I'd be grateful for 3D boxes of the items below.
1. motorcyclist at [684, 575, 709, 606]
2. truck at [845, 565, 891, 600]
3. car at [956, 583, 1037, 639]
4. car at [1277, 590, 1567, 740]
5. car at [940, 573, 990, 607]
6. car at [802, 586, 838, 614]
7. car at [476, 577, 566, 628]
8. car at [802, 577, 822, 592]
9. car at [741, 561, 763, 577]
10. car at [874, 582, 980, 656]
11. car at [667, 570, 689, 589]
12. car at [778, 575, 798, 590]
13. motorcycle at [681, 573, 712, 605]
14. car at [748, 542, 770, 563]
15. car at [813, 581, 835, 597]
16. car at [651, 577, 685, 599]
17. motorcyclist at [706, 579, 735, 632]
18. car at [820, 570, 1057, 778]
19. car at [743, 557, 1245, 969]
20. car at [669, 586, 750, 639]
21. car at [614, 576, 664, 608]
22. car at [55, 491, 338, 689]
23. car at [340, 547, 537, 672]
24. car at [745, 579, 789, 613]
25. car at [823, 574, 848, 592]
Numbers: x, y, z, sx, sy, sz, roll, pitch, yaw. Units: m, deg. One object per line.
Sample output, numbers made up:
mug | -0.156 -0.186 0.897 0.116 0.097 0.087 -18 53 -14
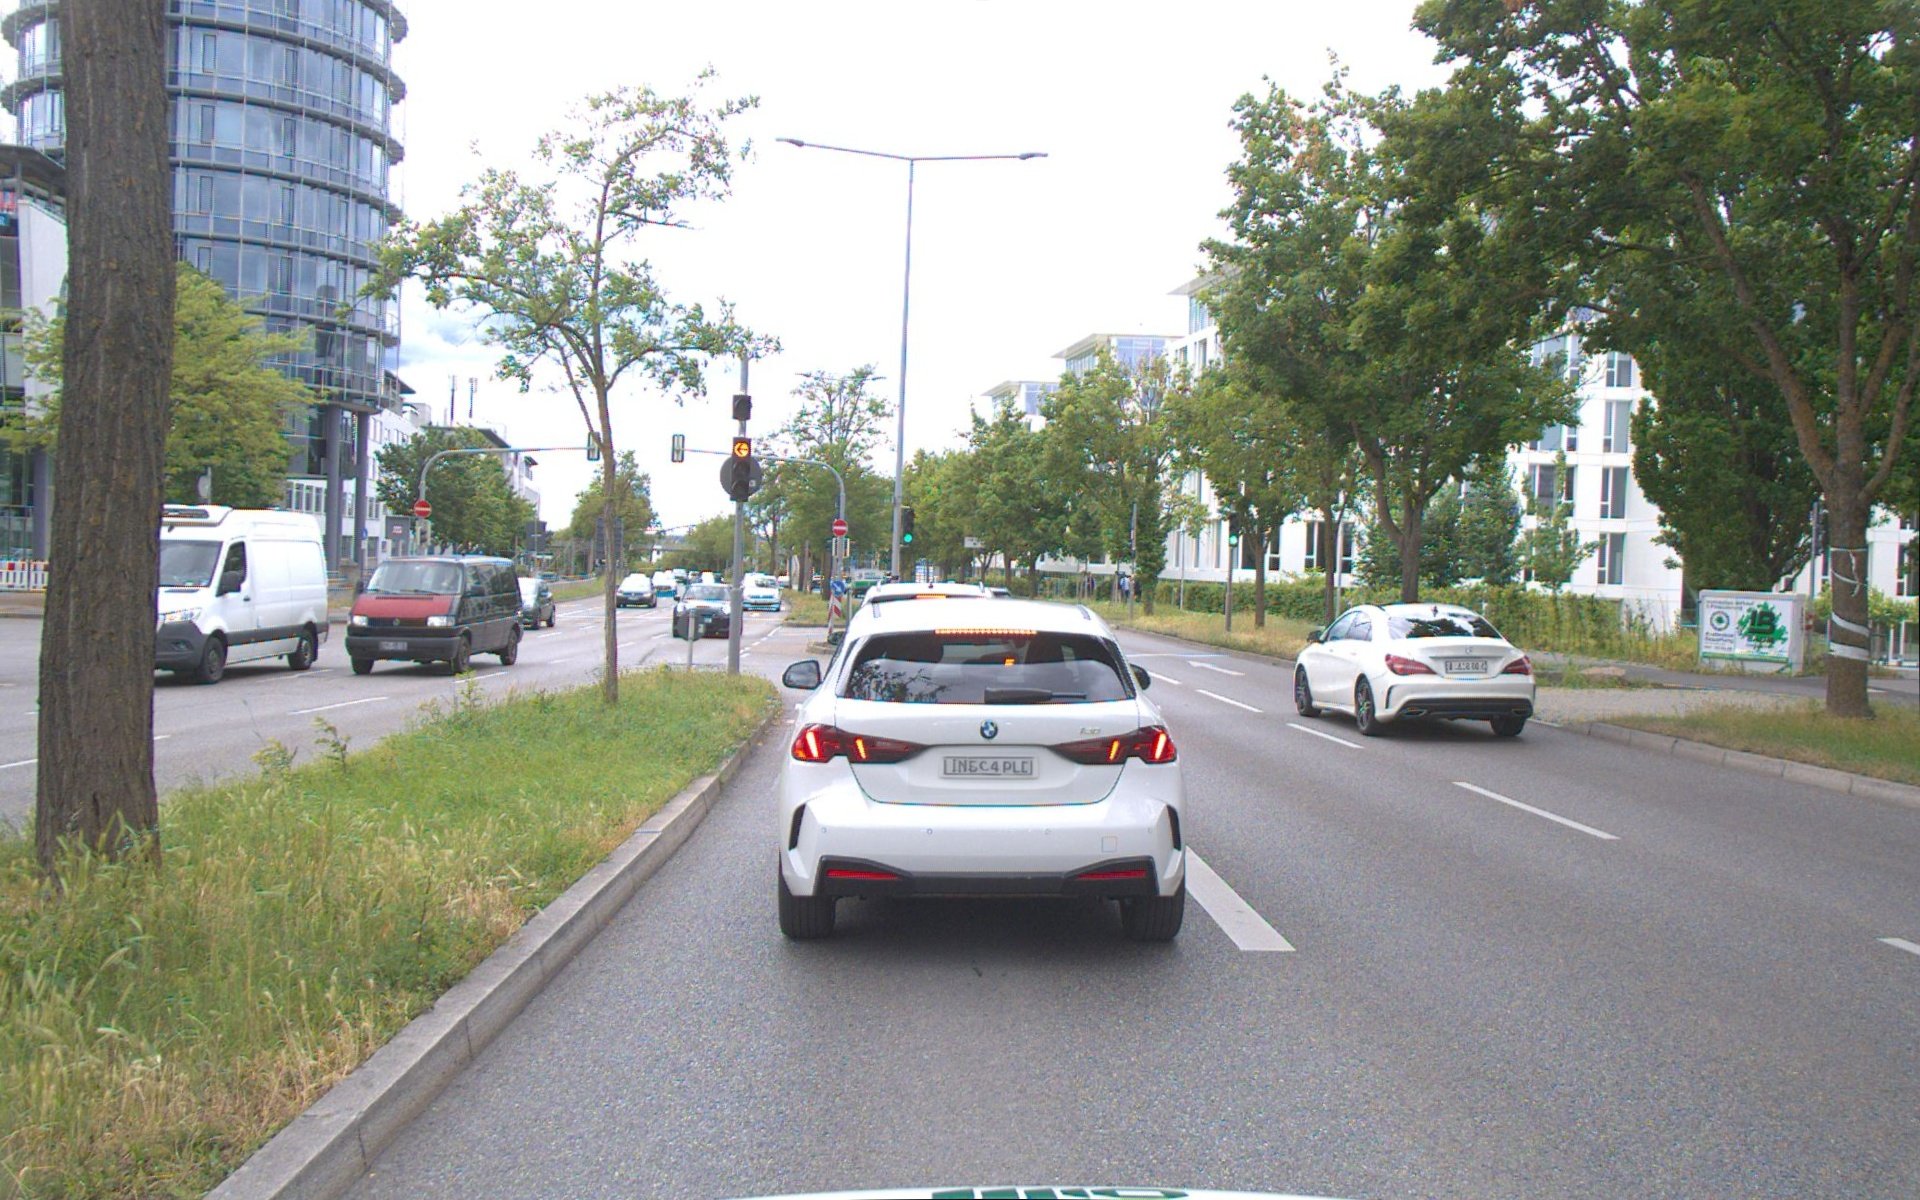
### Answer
motorcyclist | -12.396 -0.463 77.779 0.891 1.416 1.673 1 0 -1
truck | -7.132 -1.357 127.741 2.807 2.563 6.272 2 0 -10
car | 0.992 0.269 47.643 2.012 1.512 4.971 -1 1 -2
car | 5.214 0.676 19.388 1.758 1.498 4.695 2 0 -4
car | 0.232 -0.514 83.589 1.956 1.624 3.993 2 0 -8
car | -7.541 -0.013 89.553 1.633 1.429 3.999 1 0 -1
car | -13.073 0.054 49.450 1.673 1.443 4.018 0 0 -1
car | -15.533 -1.639 173.959 1.954 1.516 3.997 2 0 -3
car | -24.060 -3.571 191.254 1.953 1.646 3.999 3 0 -1
car | -0.675 0.414 37.217 1.951 1.534 4.002 1 0 5
car | -31.296 -2.250 183.796 1.954 2.046 4.321 1 0 -4
car | -18.114 -1.814 174.355 1.954 1.516 3.997 2 0 -3
motorcycle | -12.393 -0.510 77.954 0.871 1.422 3.999 1 0 -1
car | -21.129 -4.961 174.091 1.954 2.045 4.321 3 0 -4
car | -14.057 -1.149 171.267 1.957 1.534 3.991 1 0 -9
car | -19.782 -0.804 112.059 1.673 1.443 3.802 0 0 -1
motorcyclist | -8.714 0.194 60.183 0.831 1.869 1.259 1 0 -1
car | -0.181 0.628 15.946 1.953 1.701 4.000 2 0 0
car | 0.179 0.609 8.135 1.824 1.474 4.001 2 0 1
car | -6.863 0.311 45.627 1.718 1.395 3.779 0 0 -1
car | -15.324 -0.389 79.048 1.673 1.443 3.802 0 0 -1
car | -11.735 -0.165 25.975 1.954 2.680 5.871 2 0 -4
car | -8.965 0.136 28.893 1.896 1.951 4.972 1 0 -1
car | -9.003 -0.195 77.312 1.673 1.523 3.802 0 0 -1
car | -10.950 -1.504 145.691 1.956 1.534 3.993 1 0 -8
